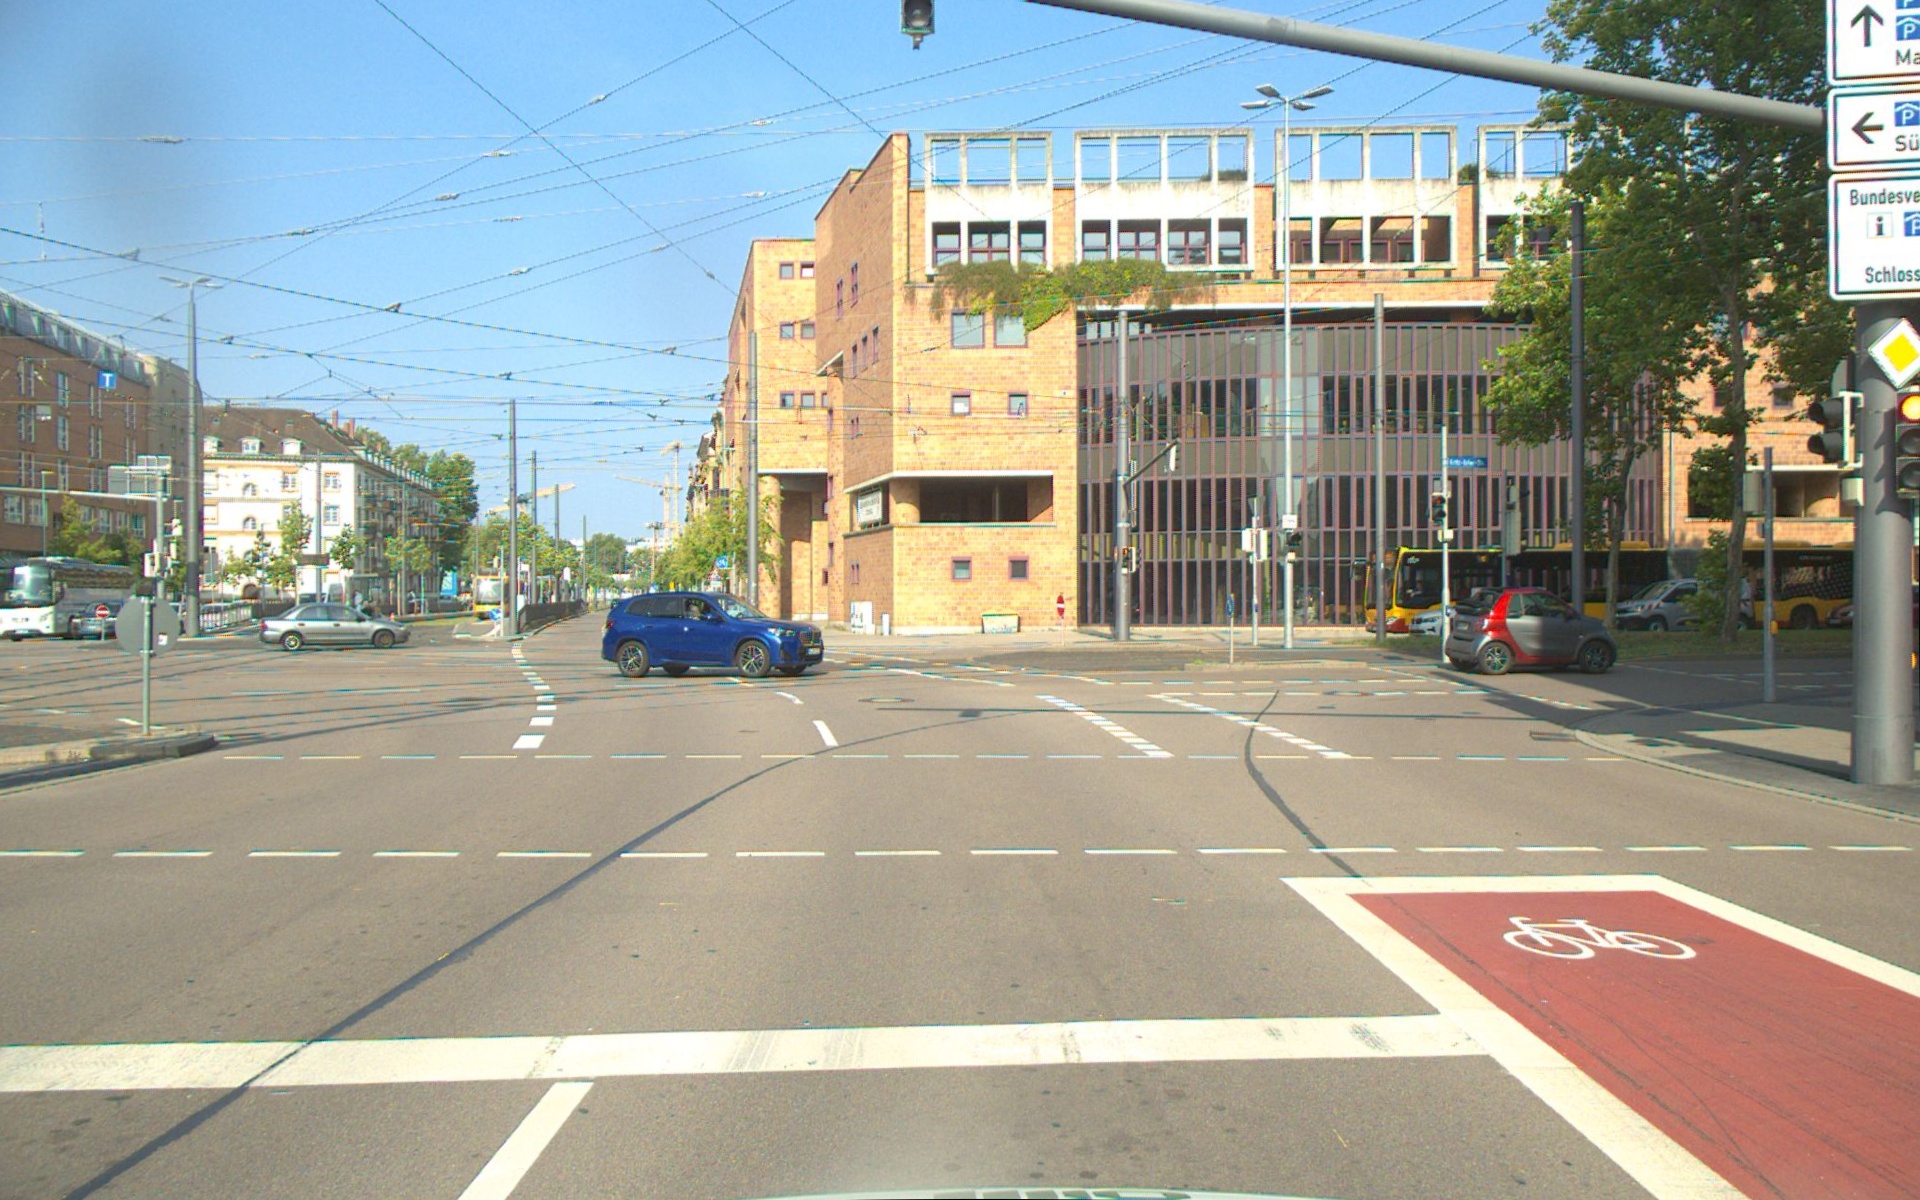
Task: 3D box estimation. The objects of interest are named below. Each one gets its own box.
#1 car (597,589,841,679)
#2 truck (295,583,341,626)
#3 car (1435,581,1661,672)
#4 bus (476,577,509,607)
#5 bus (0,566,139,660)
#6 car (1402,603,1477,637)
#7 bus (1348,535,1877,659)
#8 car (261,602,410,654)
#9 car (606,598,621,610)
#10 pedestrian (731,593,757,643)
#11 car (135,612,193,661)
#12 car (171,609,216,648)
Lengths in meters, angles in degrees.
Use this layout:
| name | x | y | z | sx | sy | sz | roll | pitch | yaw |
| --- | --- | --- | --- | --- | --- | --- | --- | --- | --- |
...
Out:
| name | x | y | z | sx | sy | sz | roll | pitch | yaw |
| --- | --- | --- | --- | --- | --- | --- | --- | --- | --- |
| car | -4.692 | 0.687 | 32.291 | 4.309 | 1.664 | 1.992 | -1 | -2 | 22 |
| truck | -41.135 | 0.288 | 106.082 | 1.958 | 2.644 | 4.726 | 0 | -1 | -11 |
| car | 10.695 | 0.452 | 30.211 | 3.523 | 1.518 | 1.700 | -1 | 2 | -7 |
| bus | -31.919 | -0.537 | 112.897 | 1.959 | 2.049 | 3.987 | 0 | 0 | -13 |
| bus | -41.629 | 0.701 | 77.415 | 2.698 | 3.990 | 12.178 | -1 | -1 | -12 |
| car | 14.363 | 0.586 | 49.604 | 1.912 | 0.975 | 1.093 | -1 | 0 | -2 |
| bus | 21.592 | -0.103 | 54.719 | 17.287 | 3.877 | 2.858 | 0 | -1 | -10 |
| car | -18.931 | 0.839 | 50.177 | 4.148 | 1.513 | 1.986 | 0 | -2 | -22 |
| car | -47.744 | 0.582 | 227.922 | 2.037 | 1.569 | 4.401 | 0 | -1 | -12 |
| pedestrian | -8.873 | 0.737 | 67.944 | 0.823 | 2.049 | 0.811 | 0 | 0 | 15 |
| car | -34.501 | 1.591 | 71.752 | 1.573 | 2.049 | 2.722 | 0 | -1 | -11 |
| car | -35.875 | 1.327 | 77.418 | 1.186 | 1.791 | 2.604 | 0 | -1 | -8 |
